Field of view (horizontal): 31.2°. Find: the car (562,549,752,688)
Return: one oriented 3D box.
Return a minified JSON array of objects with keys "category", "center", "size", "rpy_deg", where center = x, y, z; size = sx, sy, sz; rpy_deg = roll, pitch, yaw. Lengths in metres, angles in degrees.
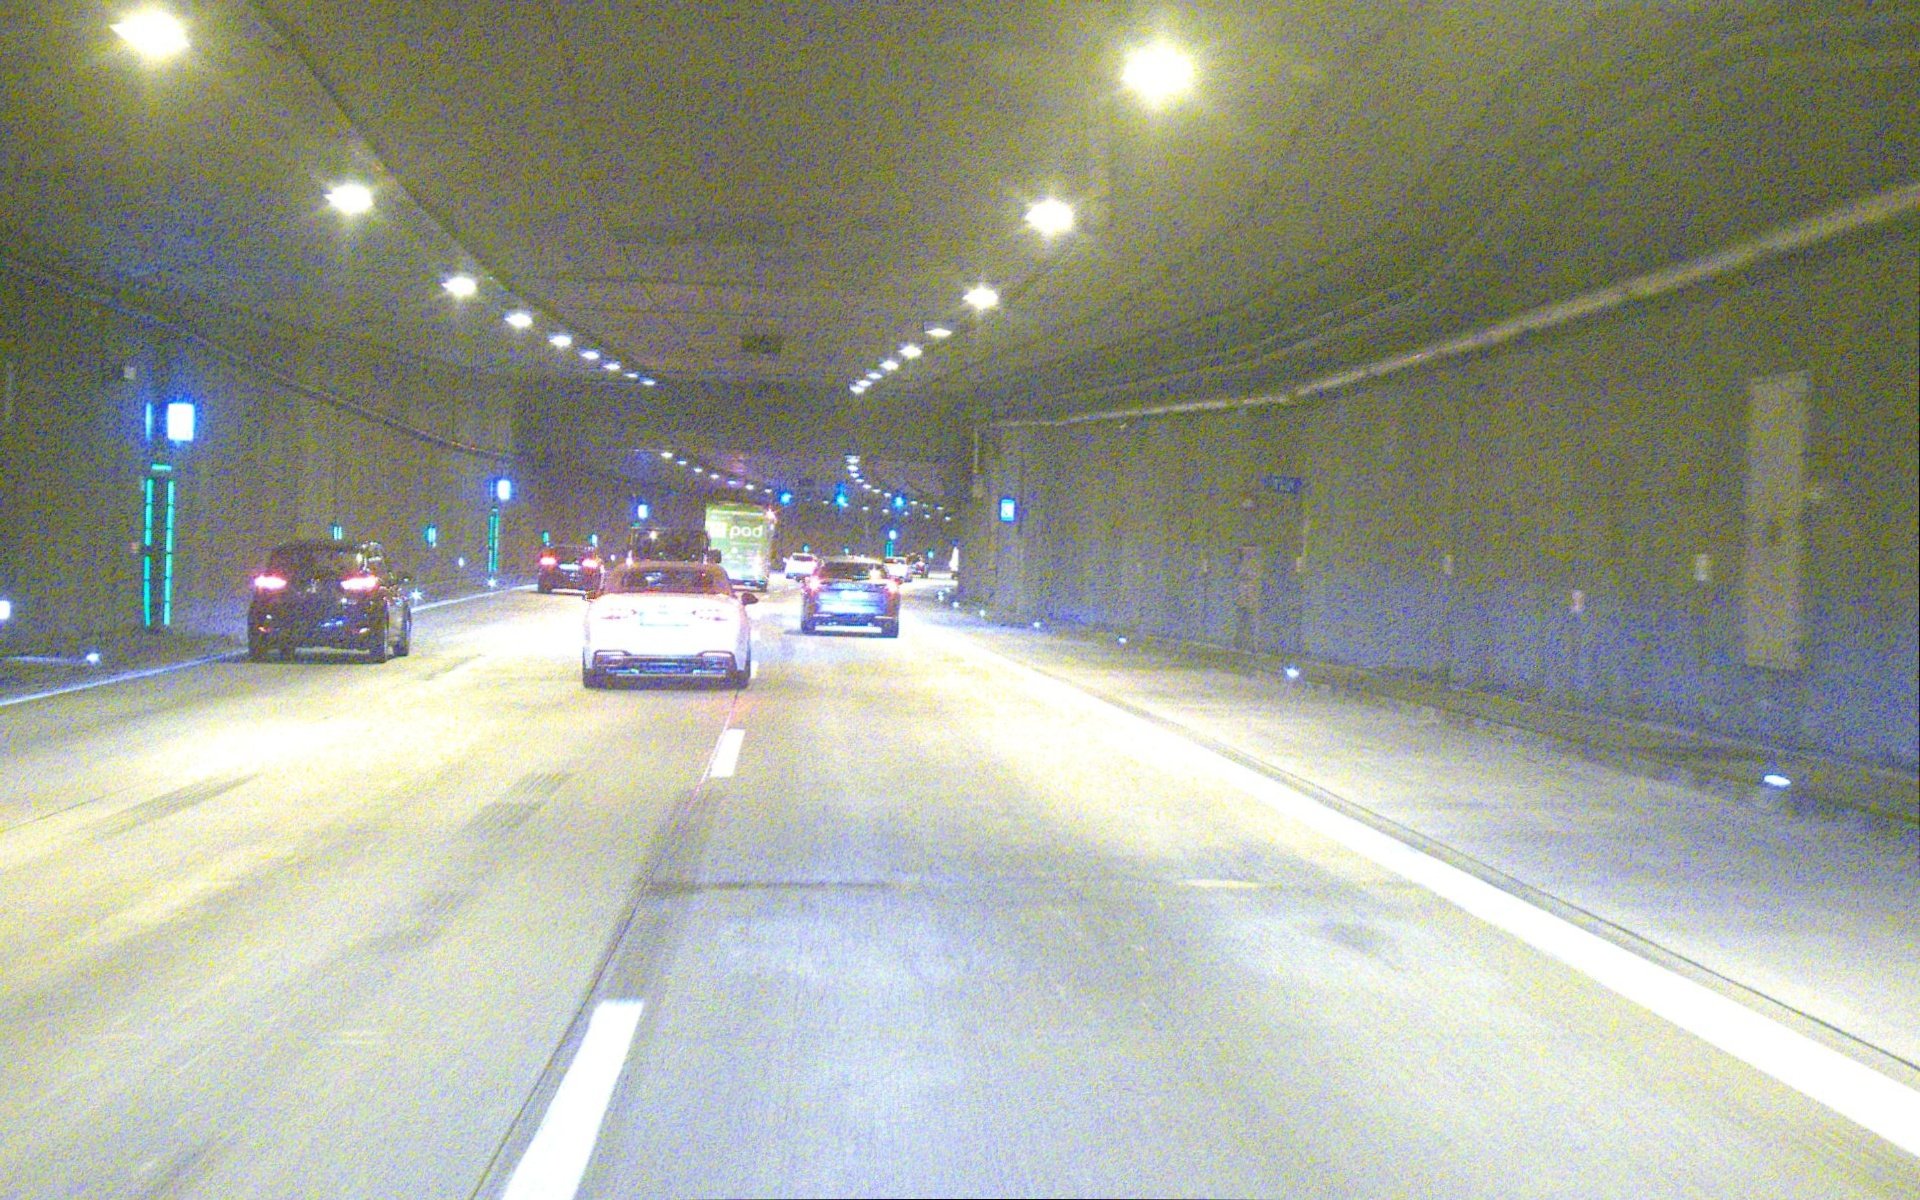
[{"category":"car","center":[-3.351,0.170,38.628],"size":[1.993,1.478,4.001],"rpy_deg":[0,1,-3]}]

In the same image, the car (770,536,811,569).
[{"category":"car","center":[-9.263,-2.566,188.052],"size":[1.993,1.748,4.000],"rpy_deg":[1,0,0]}]

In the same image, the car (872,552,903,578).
[{"category":"car","center":[-4.524,-2.179,214.200],"size":[1.844,1.546,4.000],"rpy_deg":[2,1,-2]}]

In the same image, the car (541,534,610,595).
[{"category":"car","center":[-10.851,-0.994,97.246],"size":[1.800,1.678,4.001],"rpy_deg":[0,0,-4]}]

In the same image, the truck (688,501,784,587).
[{"category":"truck","center":[-8.460,-2.204,131.125],"size":[3.082,3.102,10.030],"rpy_deg":[1,1,-1]}]

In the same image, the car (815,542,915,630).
[{"category":"car","center":[-1.785,-0.269,64.989],"size":[1.839,1.597,4.000],"rpy_deg":[0,0,-1]}]

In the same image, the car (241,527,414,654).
[{"category":"car","center":[-8.306,-0.149,45.414],"size":[1.785,1.593,3.802],"rpy_deg":[0,1,-3]}]

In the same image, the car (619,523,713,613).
[{"category":"car","center":[-6.614,-0.722,77.637],"size":[1.993,1.965,4.000],"rpy_deg":[0,0,-3]}]
